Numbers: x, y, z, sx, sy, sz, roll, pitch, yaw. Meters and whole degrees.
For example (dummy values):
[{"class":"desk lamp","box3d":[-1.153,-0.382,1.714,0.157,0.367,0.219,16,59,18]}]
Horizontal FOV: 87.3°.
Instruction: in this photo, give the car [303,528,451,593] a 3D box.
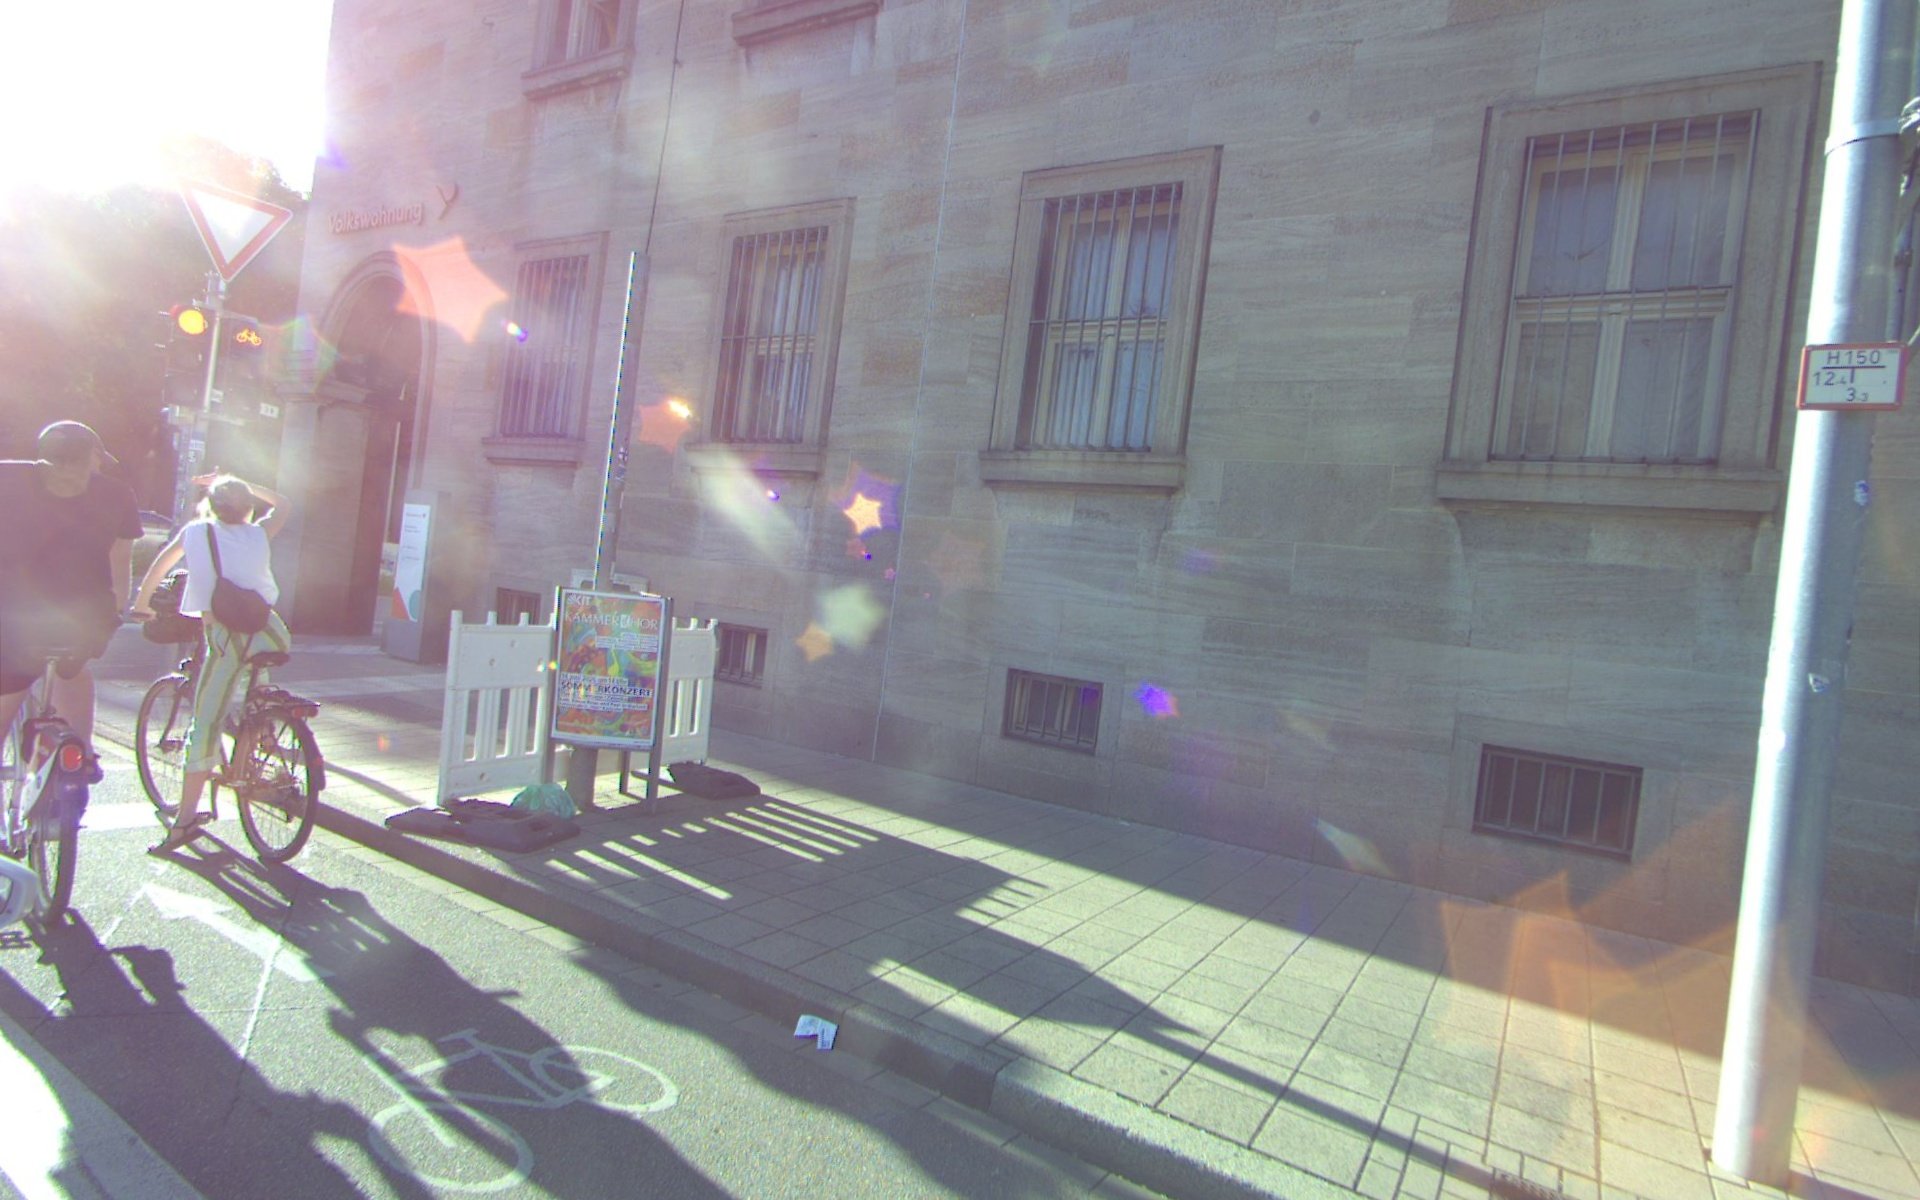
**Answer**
[{"class":"car","box3d":[-19.380,-1.289,33.569,1.623,1.630,3.854,7,-1,31]}]

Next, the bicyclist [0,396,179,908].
[{"class":"bicyclist","box3d":[-3.550,0.193,3.854,0.541,1.820,0.559,7,-1,33]}]

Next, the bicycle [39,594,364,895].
[{"class":"bicycle","box3d":[-3.683,0.621,4.842,1.721,1.090,0.535,7,-1,31]}]

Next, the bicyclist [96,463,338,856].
[{"class":"bicyclist","box3d":[-3.536,0.266,4.804,0.629,1.711,0.558,7,-1,30]}]

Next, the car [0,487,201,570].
[{"class":"car","box3d":[-23.328,-1.885,27.273,1.622,1.630,3.999,7,-1,31]}]

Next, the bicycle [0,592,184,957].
[{"class":"bicycle","box3d":[-3.739,0.574,3.925,1.700,1.090,0.516,7,-1,34]}]
